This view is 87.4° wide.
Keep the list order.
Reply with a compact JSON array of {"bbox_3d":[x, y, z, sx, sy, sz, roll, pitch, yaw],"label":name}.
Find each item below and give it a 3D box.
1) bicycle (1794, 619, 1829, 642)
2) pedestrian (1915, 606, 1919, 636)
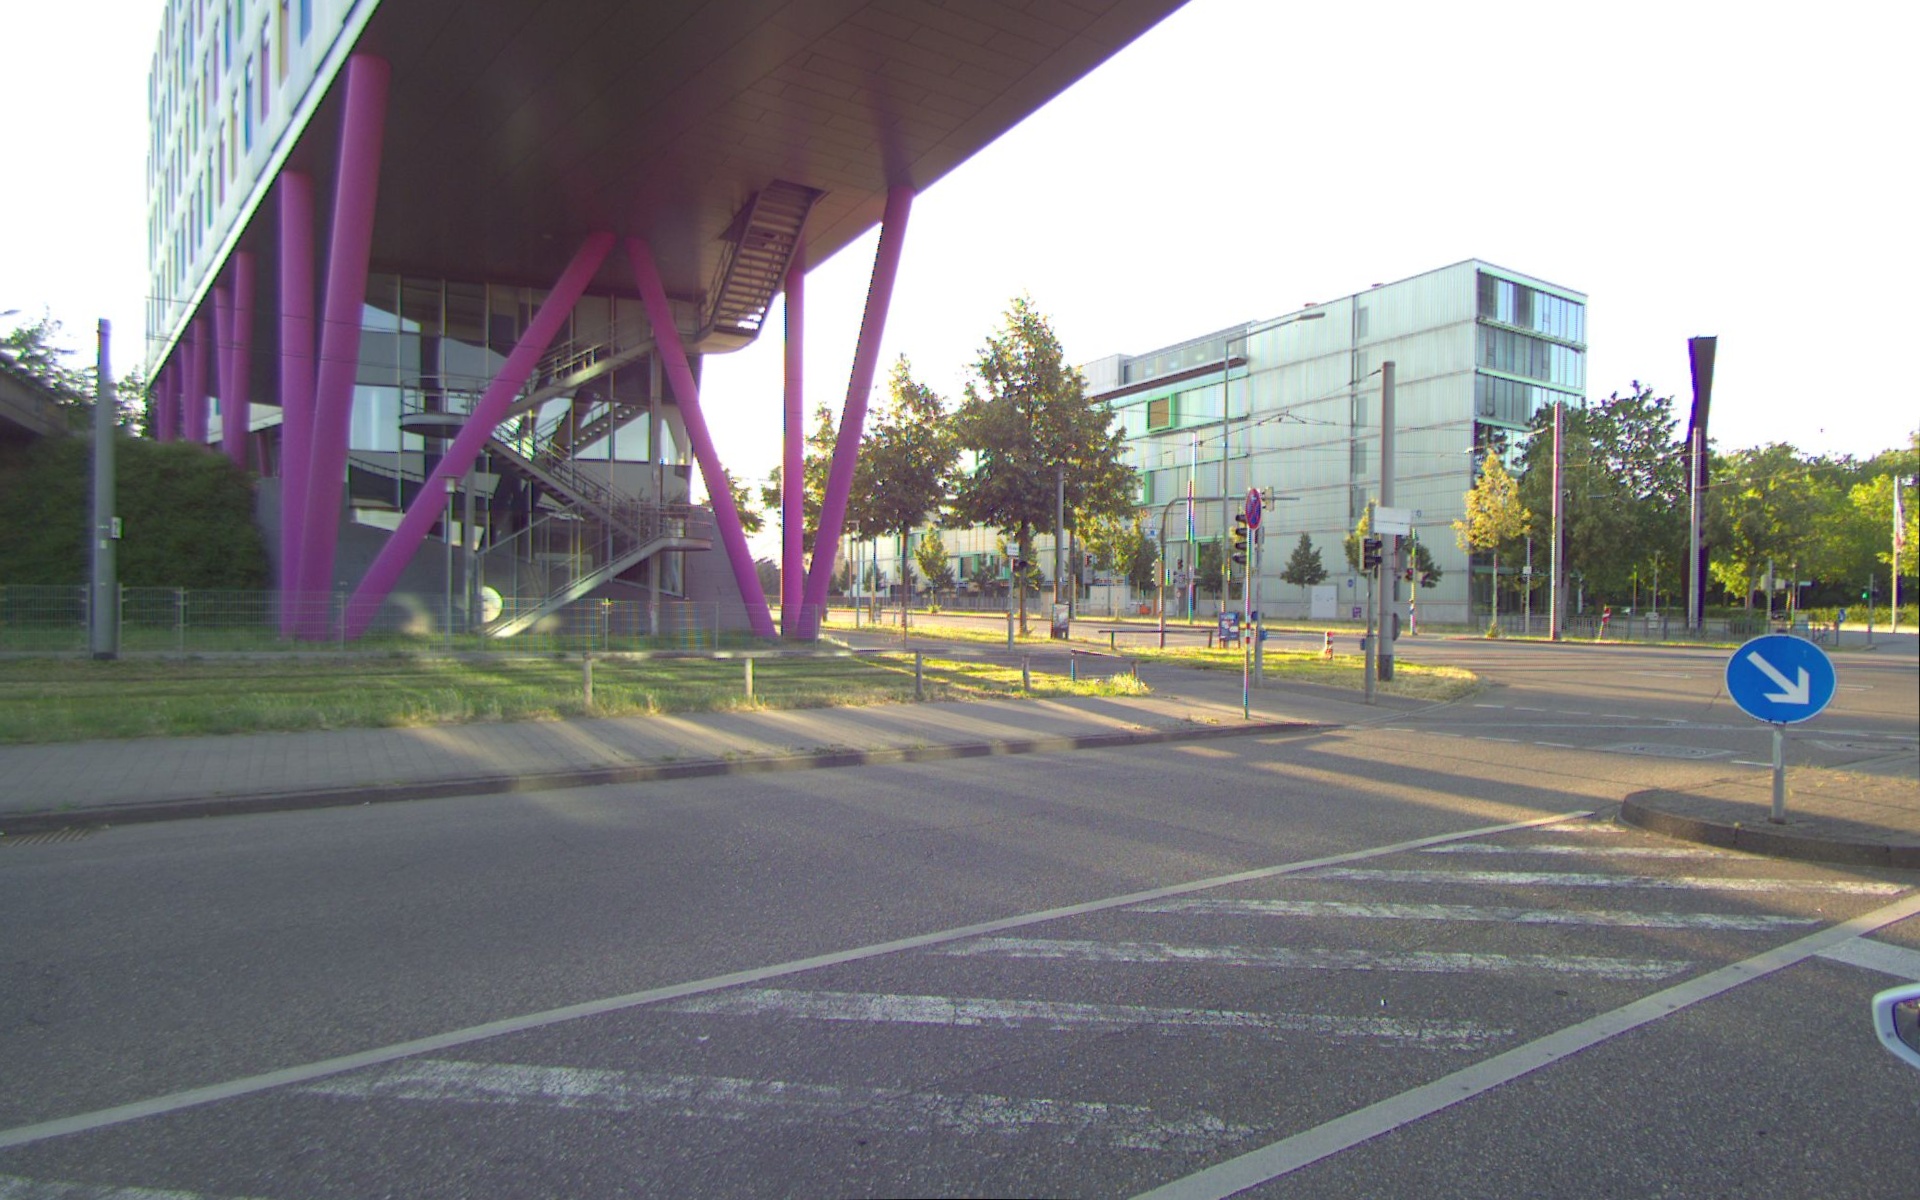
[{"bbox_3d":[43.830,1.539,51.704,2.367,1.151,0.695,1,0,-33],"label":"bicycle"},{"bbox_3d":[56.580,1.243,58.772,0.882,1.778,0.718,1,0,35],"label":"pedestrian"}]
